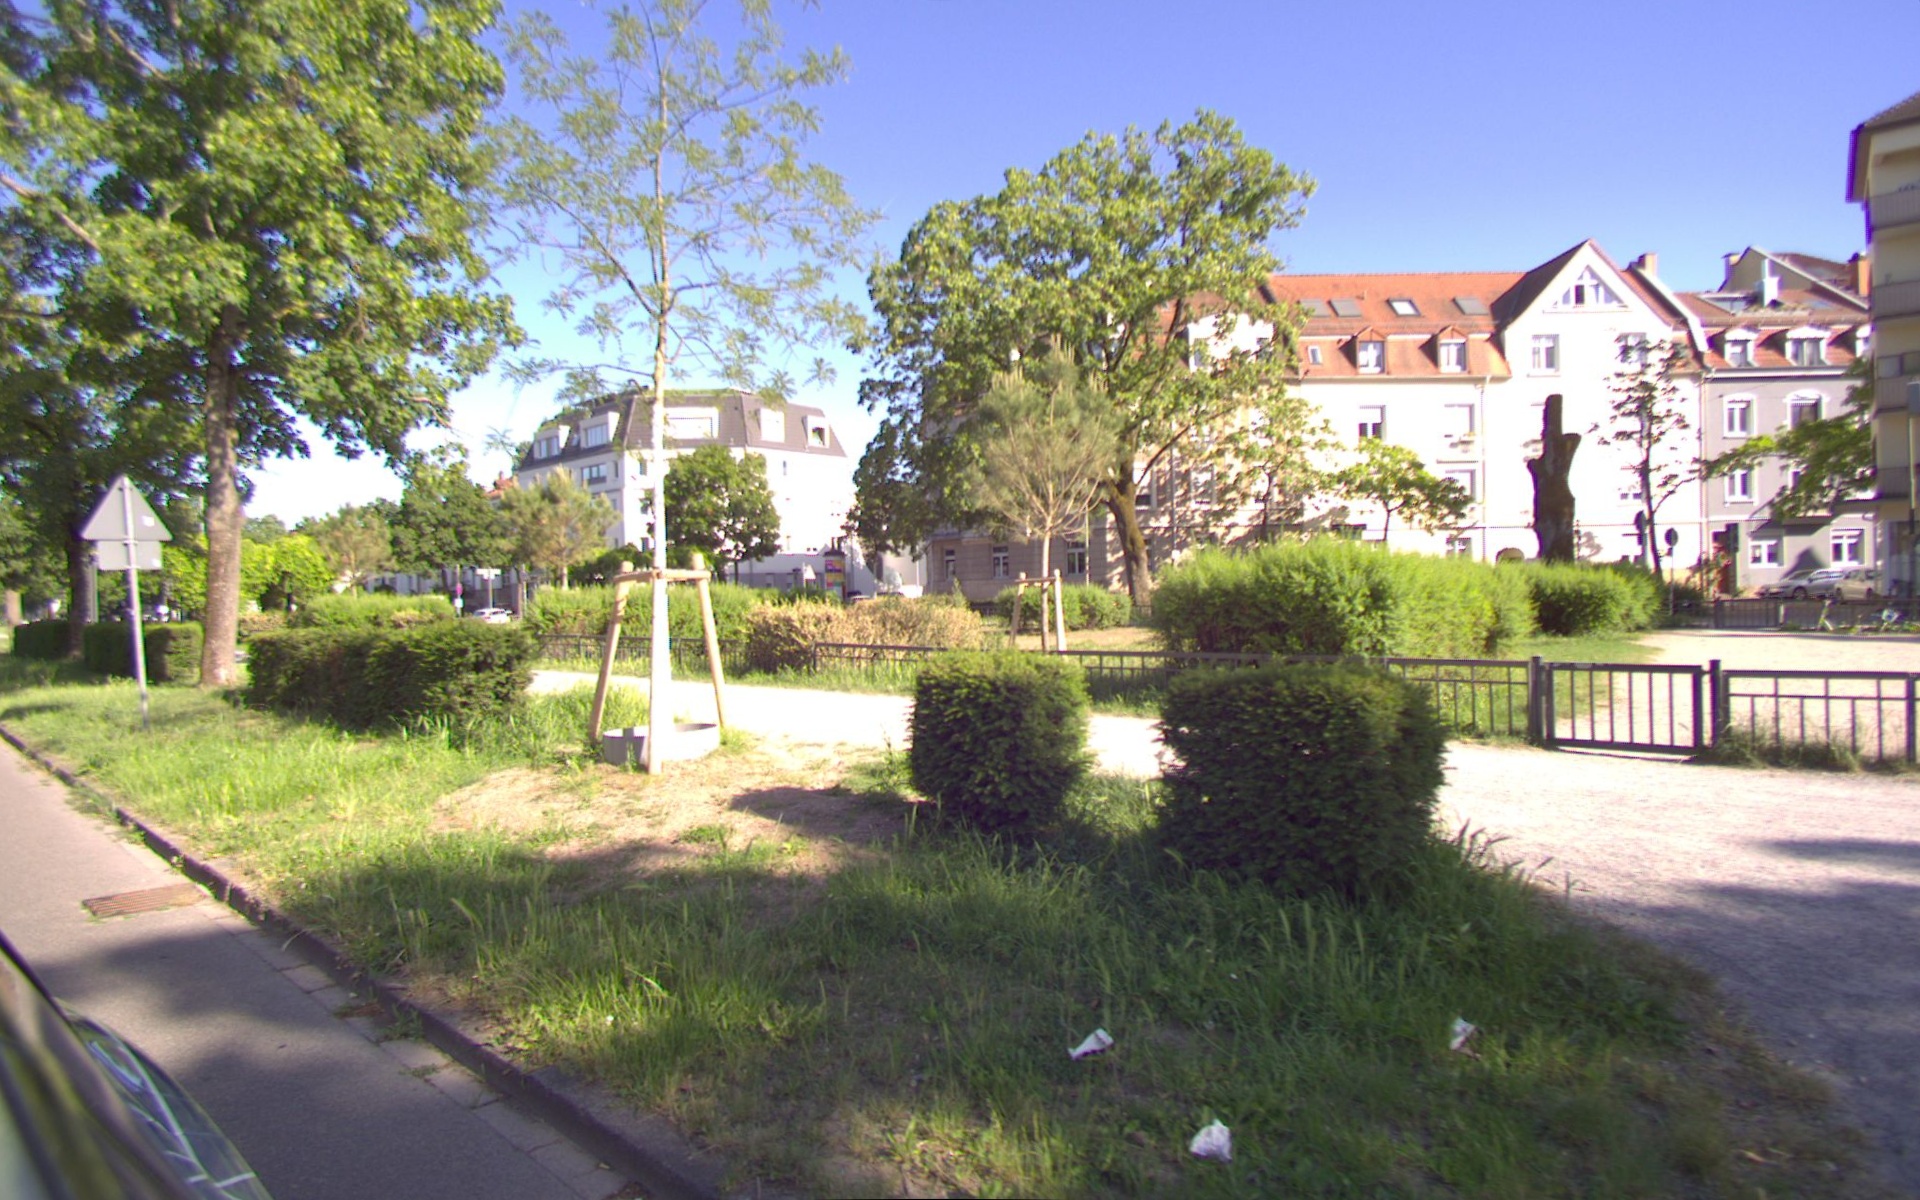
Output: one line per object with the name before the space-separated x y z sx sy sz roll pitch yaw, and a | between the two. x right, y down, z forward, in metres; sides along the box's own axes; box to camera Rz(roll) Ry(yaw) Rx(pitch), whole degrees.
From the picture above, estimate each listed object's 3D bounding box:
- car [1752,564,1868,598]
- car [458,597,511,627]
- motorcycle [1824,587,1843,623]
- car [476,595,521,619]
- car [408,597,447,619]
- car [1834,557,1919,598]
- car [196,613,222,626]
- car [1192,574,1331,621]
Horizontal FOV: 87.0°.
car | 40.156 -0.897 47.883 3.944 1.522 1.800 -1 0 0
car | -34.982 0.887 74.390 4.403 2.044 1.846 -2 -1 41
motorcycle | 24.643 0.149 28.545 0.188 0.998 0.461 -2 0 12
car | -39.368 0.615 86.268 4.403 2.044 1.846 -1 0 41
car | -50.453 0.779 95.921 4.406 2.044 1.915 -1 0 43
car | 36.521 -0.873 40.210 1.791 1.522 3.963 -1 0 27
car | -93.358 2.458 125.804 3.998 1.522 1.776 -1 0 41
car | 11.083 -0.070 37.414 4.586 1.647 1.775 -1 1 42
